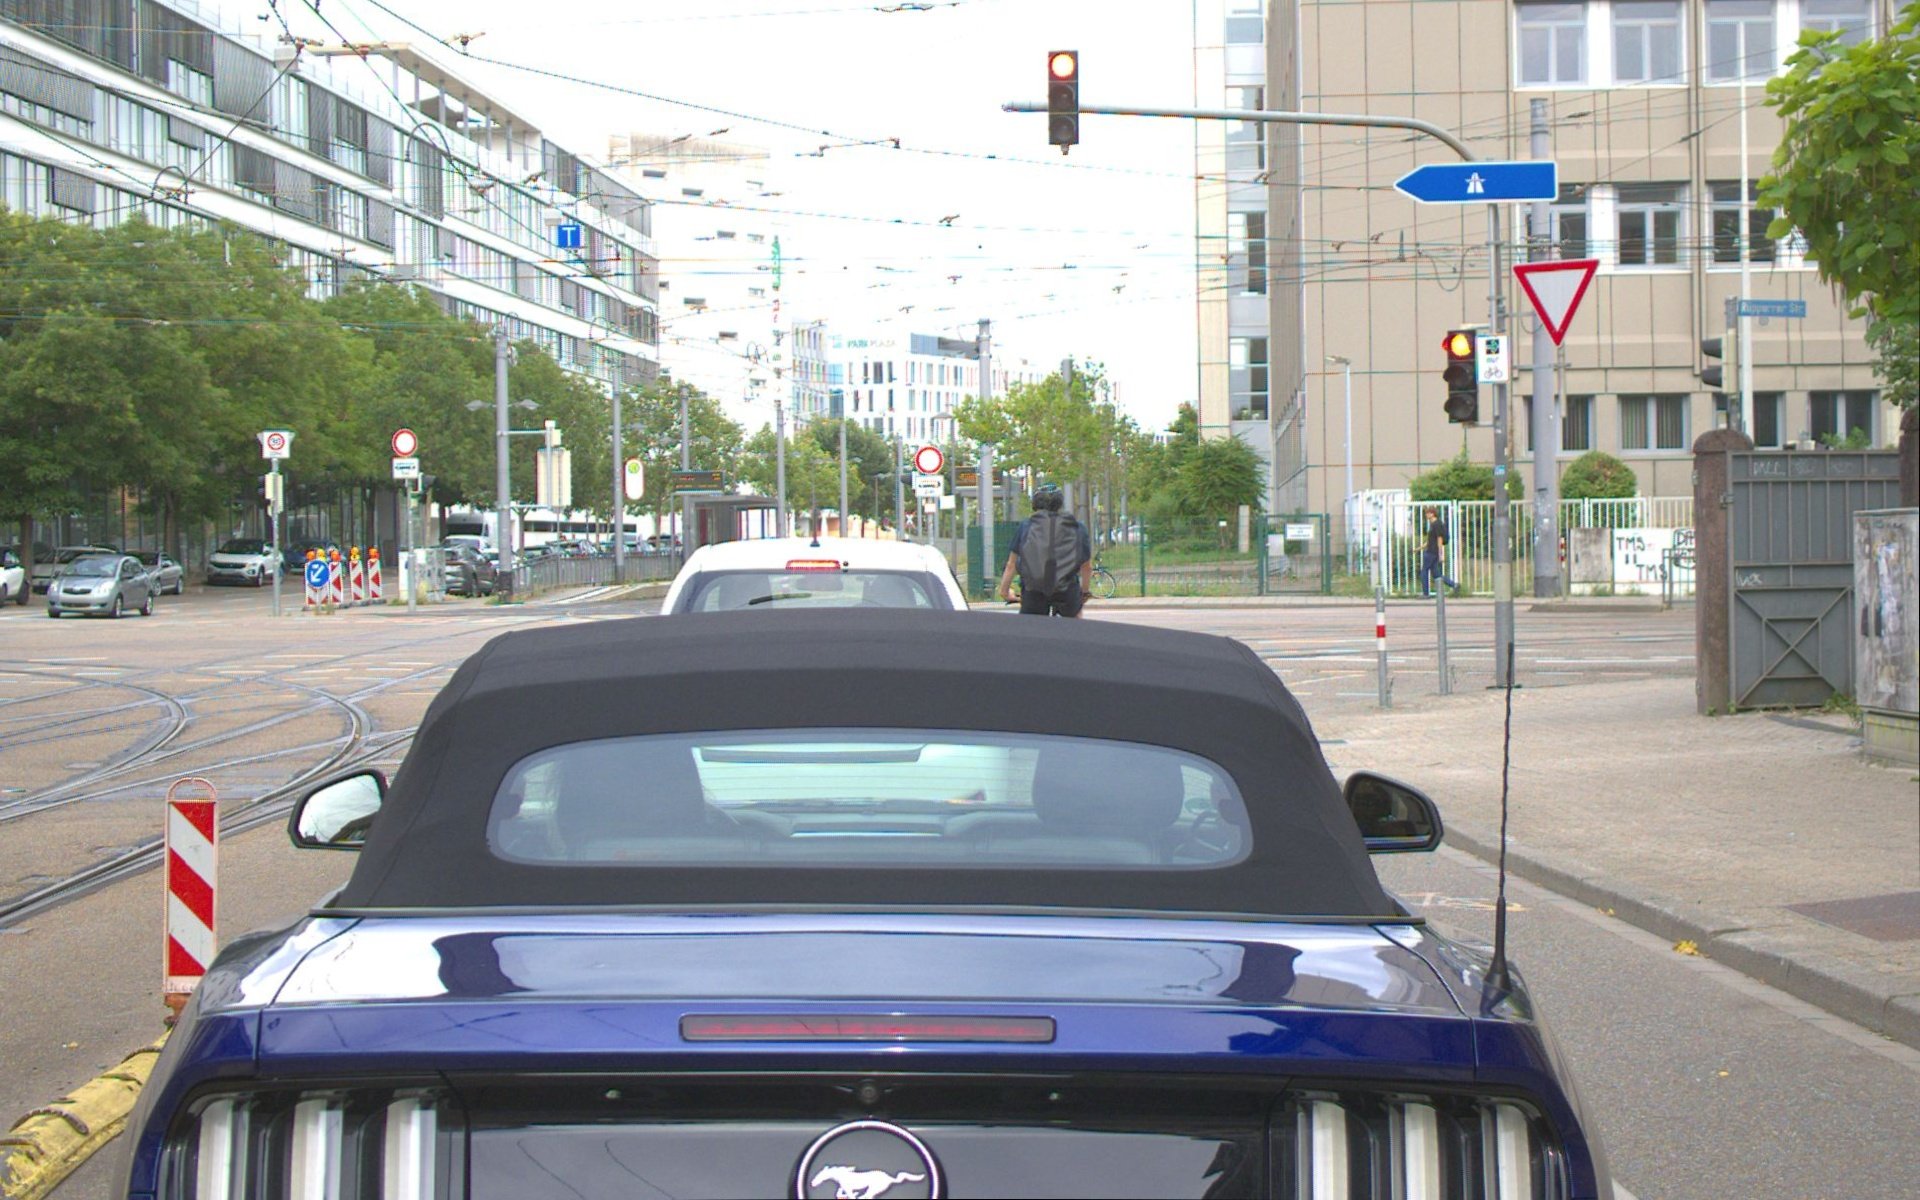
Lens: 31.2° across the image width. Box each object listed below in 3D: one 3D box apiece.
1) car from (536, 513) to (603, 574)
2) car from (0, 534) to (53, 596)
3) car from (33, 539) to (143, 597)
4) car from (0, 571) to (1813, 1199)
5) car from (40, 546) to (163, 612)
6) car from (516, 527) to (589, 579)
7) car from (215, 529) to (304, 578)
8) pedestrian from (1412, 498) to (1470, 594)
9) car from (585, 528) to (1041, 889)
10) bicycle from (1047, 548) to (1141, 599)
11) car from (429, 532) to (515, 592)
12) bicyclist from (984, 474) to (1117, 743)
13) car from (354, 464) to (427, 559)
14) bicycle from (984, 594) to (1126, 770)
[{"bbox_3d":[-13.145,-1.910,115.944,1.785,1.980,4.121,-1,1,-1],"label":"car"},{"bbox_3d":[-25.589,-0.942,90.923,1.830,1.551,4.216,1,1,3],"label":"car"},{"bbox_3d":[-24.851,-0.928,98.154,1.830,1.551,4.216,1,1,3],"label":"car"},{"bbox_3d":[-0.143,0.694,5.437,1.876,1.399,4.282,1,1,0],"label":"car"},{"bbox_3d":[-20.690,-0.526,83.031,1.668,1.501,4.234,1,1,3],"label":"car"},{"bbox_3d":[-13.099,-1.523,110.782,1.868,1.600,4.213,-1,1,-1],"label":"car"},{"bbox_3d":[-23.677,-1.581,116.343,1.986,1.551,4.512,1,1,1],"label":"car"},{"bbox_3d":[9.619,-1.082,68.787,1.086,1.891,0.902,-1,1,5],"label":"pedestrian"},{"bbox_3d":[-0.765,0.395,16.086,1.835,1.434,4.188,-1,1,-5],"label":"car"},{"bbox_3d":[2.832,-0.564,72.721,0.632,0.977,2.157,-2,-1,-42],"label":"bicycle"},{"bbox_3d":[-13.776,-1.093,97.251,1.879,1.623,4.087,-1,1,-1],"label":"car"},{"bbox_3d":[0.608,0.042,23.454,0.796,1.779,1.233,-1,1,-2],"label":"bicyclist"},{"bbox_3d":[-22.388,-3.481,135.333,1.986,3.624,4.512,1,1,1],"label":"car"},{"bbox_3d":[0.623,0.530,23.291,0.800,1.082,2.132,-1,1,-2],"label":"bicycle"}]
